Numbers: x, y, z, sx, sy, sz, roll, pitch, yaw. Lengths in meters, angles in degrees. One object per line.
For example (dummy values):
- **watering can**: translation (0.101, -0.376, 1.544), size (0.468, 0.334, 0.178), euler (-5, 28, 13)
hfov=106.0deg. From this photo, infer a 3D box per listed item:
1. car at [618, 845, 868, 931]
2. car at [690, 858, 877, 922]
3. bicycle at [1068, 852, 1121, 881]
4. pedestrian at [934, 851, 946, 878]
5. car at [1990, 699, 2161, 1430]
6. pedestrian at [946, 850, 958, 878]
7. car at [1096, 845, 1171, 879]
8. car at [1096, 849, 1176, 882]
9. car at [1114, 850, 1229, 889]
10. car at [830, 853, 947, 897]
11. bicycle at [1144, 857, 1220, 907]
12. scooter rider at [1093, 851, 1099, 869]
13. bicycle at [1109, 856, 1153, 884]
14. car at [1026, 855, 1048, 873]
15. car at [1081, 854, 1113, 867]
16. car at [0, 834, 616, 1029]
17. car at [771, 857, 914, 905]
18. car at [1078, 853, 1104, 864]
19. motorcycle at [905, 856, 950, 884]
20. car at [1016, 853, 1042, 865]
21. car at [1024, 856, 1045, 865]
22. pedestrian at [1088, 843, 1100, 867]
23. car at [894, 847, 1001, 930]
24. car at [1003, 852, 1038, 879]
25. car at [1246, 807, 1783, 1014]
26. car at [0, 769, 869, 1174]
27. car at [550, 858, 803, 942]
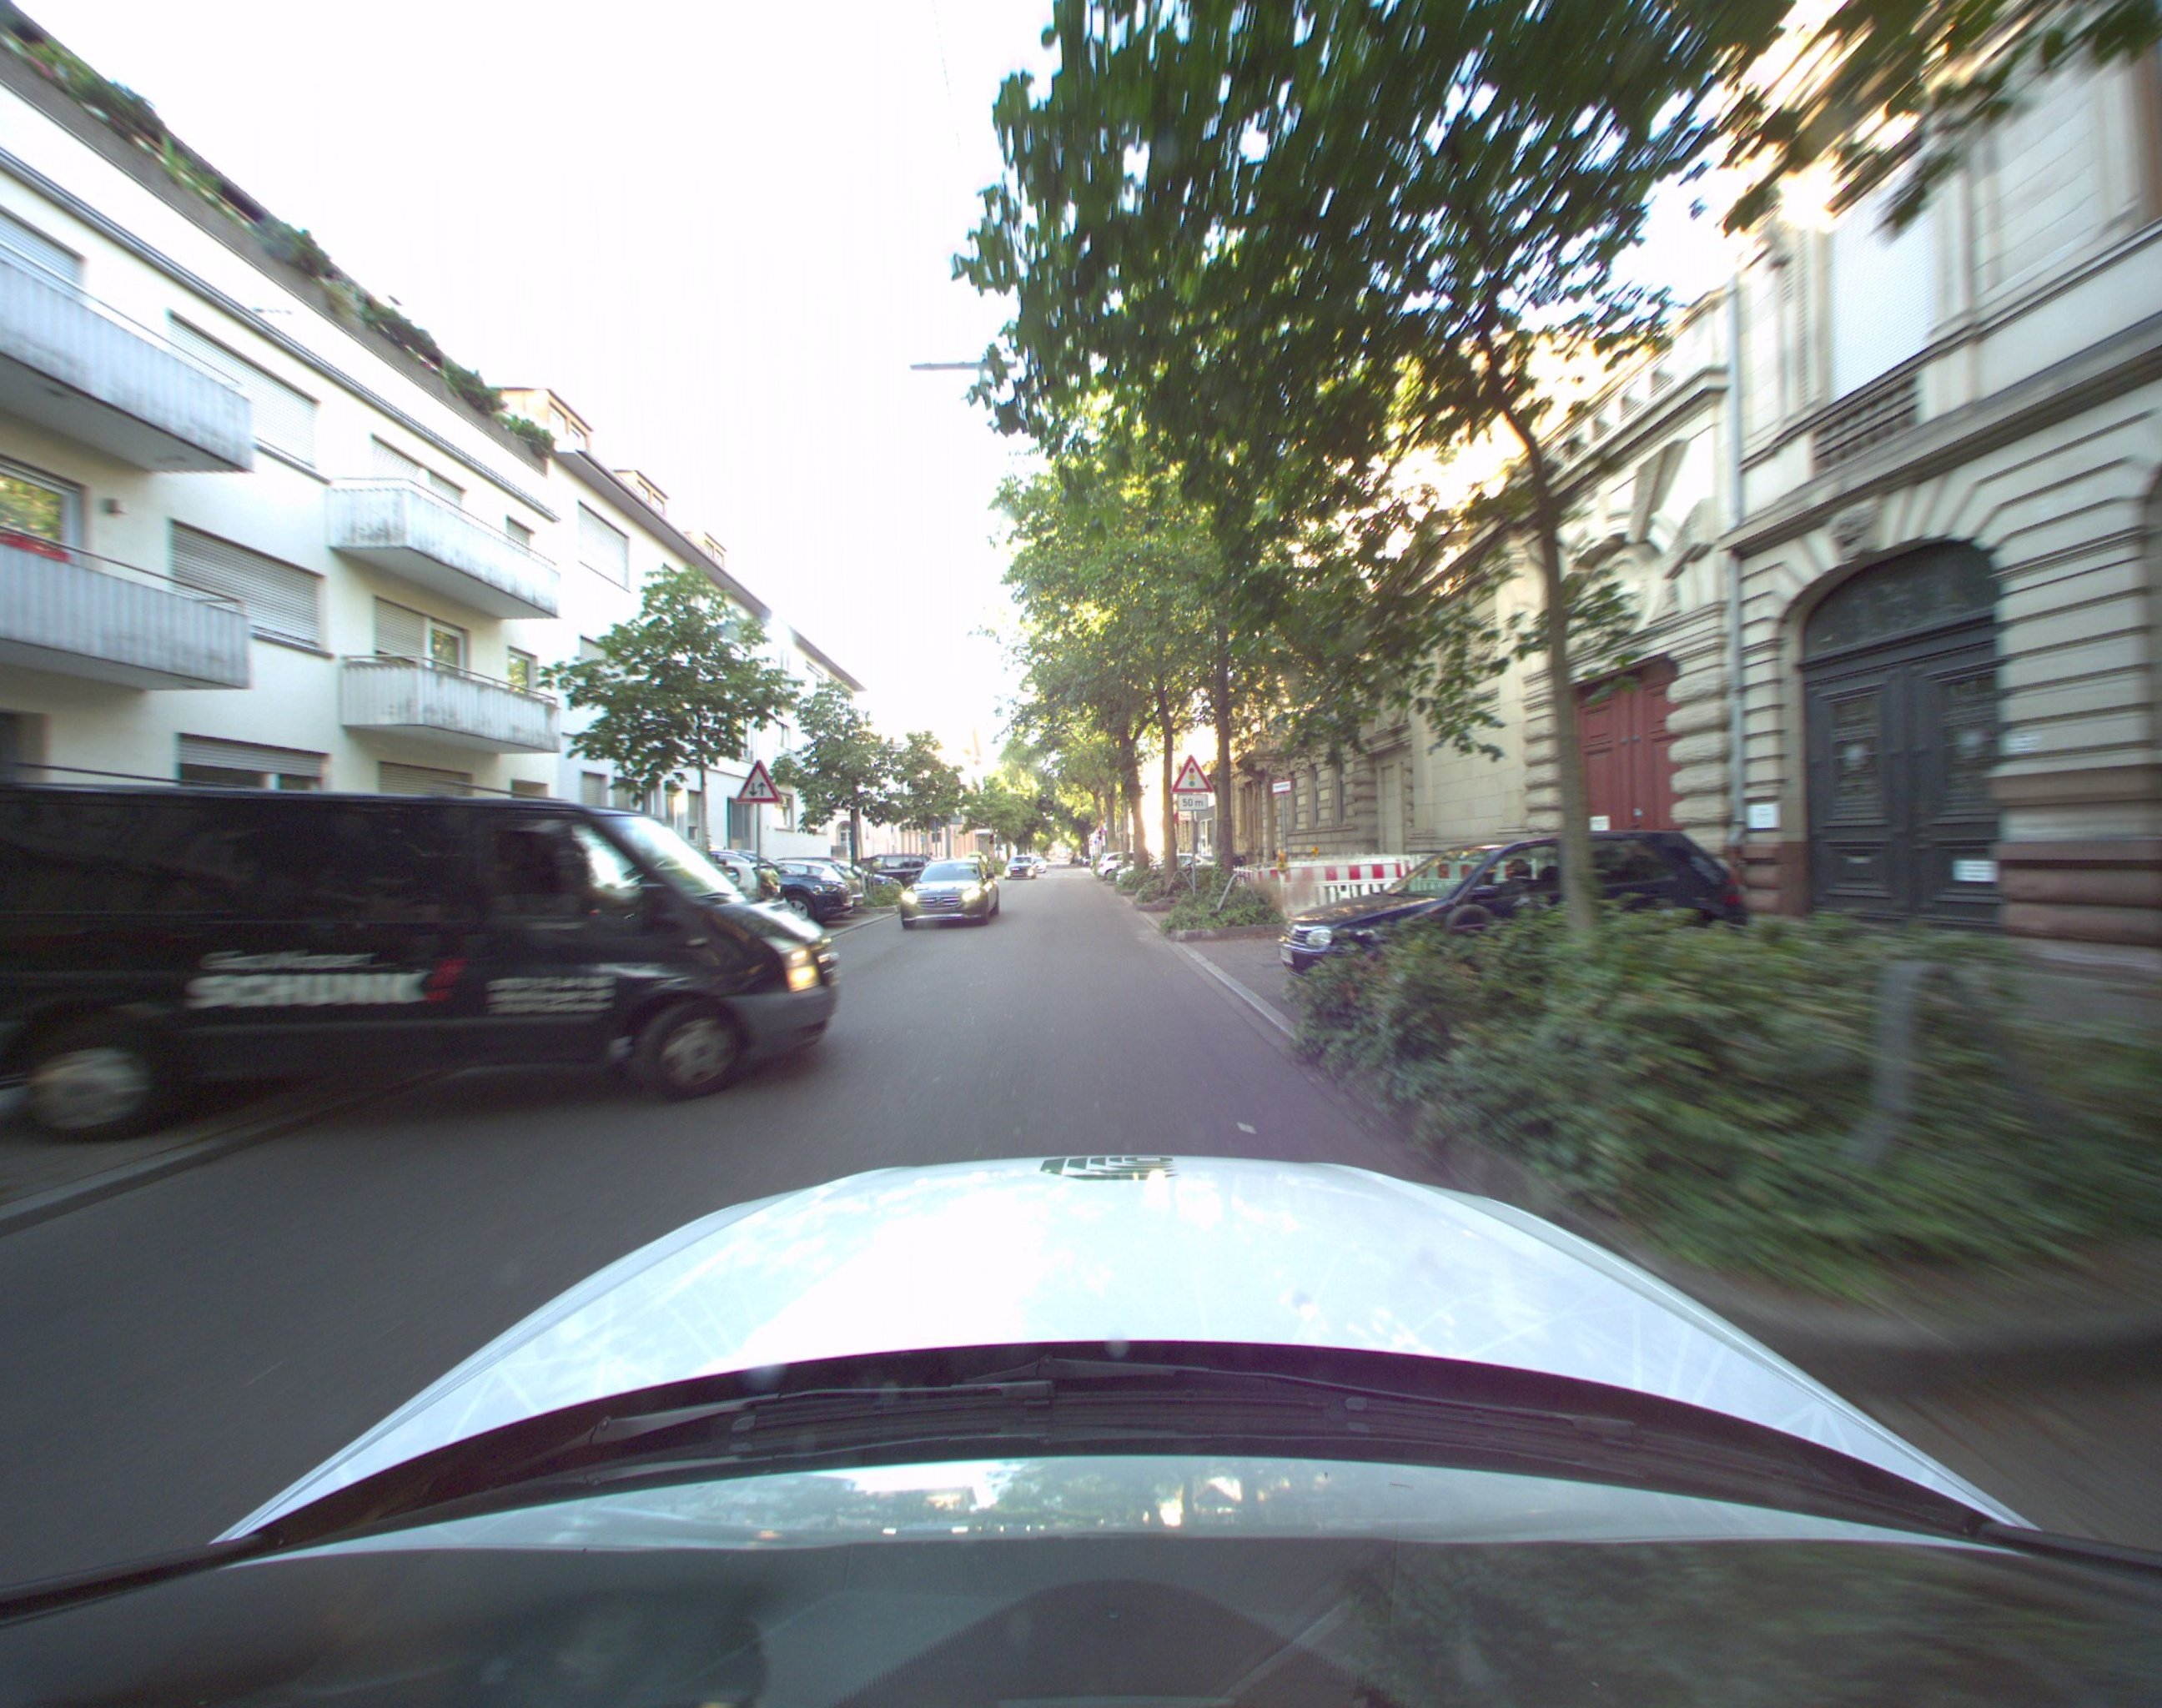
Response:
- **car**: translation (-7.351, 0.705, 18.134), size (4.653, 1.765, 2.155), euler (0, 0, -2)
- **car**: translation (-7.399, 0.876, 20.540), size (4.013, 1.494, 1.781), euler (1, 0, 2)
- **bicycle**: translation (0.813, 0.717, 48.466), size (3.109, 1.663, 0.657), euler (-1, 0, -6)
- **pedestrian**: translation (-9.461, 0.700, 54.563), size (0.550, 1.850, 0.614), euler (-1, 0, 14)
- **car**: translation (4.479, 0.426, 1.374), size (3.996, 1.687, 1.764), euler (-2, 0, -2)
- **pedestrian**: translation (-8.602, 0.683, 54.435), size (0.550, 1.850, 0.614), euler (-1, 0, 13)
- **car**: translation (3.289, 0.491, 51.803), size (4.531, 1.914, 1.948), euler (-2, 0, -4)
- **car**: translation (2.948, 0.598, 44.181), size (4.209, 1.560, 1.971), euler (-2, 0, 1)
- **car**: translation (3.702, 0.607, 33.926), size (4.568, 1.437, 1.925), euler (-2, 0, 0)
- **car**: translation (-7.427, 0.794, 31.708), size (4.080, 1.632, 1.935), euler (0, 0, -1)
- **bicycle**: translation (2.806, 0.760, 22.595), size (2.042, 1.360, 0.508), euler (0, 0, -4)
- **scooter rider**: translation (1.501, 0.587, 83.041), size (0.491, 1.791, 0.876), euler (-2, -1, 8)
- **bicycle**: translation (2.420, 0.775, 39.558), size (2.022, 1.204, 0.486), euler (-3, 0, -14)
- **car**: translation (-4.019, 0.915, 74.237), size (1.872, 1.549, 4.271), euler (-2, 0, -2)
- **car**: translation (2.184, 0.863, 110.345), size (4.181, 1.480, 1.851), euler (-3, 0, -2)
- **car**: translation (-7.281, 0.667, 7.904), size (4.342, 1.573, 1.929), euler (1, 0, -2)
- **car**: translation (-7.616, 0.849, 26.252), size (4.062, 1.440, 1.754), euler (0, 0, -1)
- **car**: translation (1.561, 0.766, 131.426), size (4.005, 1.623, 1.779), euler (-2, 0, -3)
- **motorcycle**: translation (-8.154, 0.836, 43.275), size (2.130, 1.419, 0.973), euler (-2, -1, 20)
- **car**: translation (-10.535, 0.989, 163.846), size (5.051, 2.083, 2.261), euler (-2, 0, -2)
- **car**: translation (-11.366, 1.500, 200.135), size (5.049, 2.083, 2.262), euler (-2, 0, -1)
- **pedestrian**: translation (1.174, 0.120, 73.631), size (1.040, 2.146, 1.063), euler (0, -1, -1)
- **car**: translation (-2.986, 0.716, 19.200), size (1.872, 1.640, 4.642), euler (-2, 0, -2)
- **car**: translation (-3.680, 0.696, 50.283), size (1.872, 1.549, 4.272), euler (-2, 0, -1)
- **car**: translation (3.945, 0.477, 7.944), size (4.212, 1.481, 1.853), euler (-4, 0, -2)
- **car**: translation (-4.111, 0.558, 5.705), size (5.000, 1.990, 2.178), euler (-3, 1, -16)
- **car**: translation (-7.539, 0.822, 15.492), size (3.834, 1.450, 1.854), euler (0, 1, -2)
